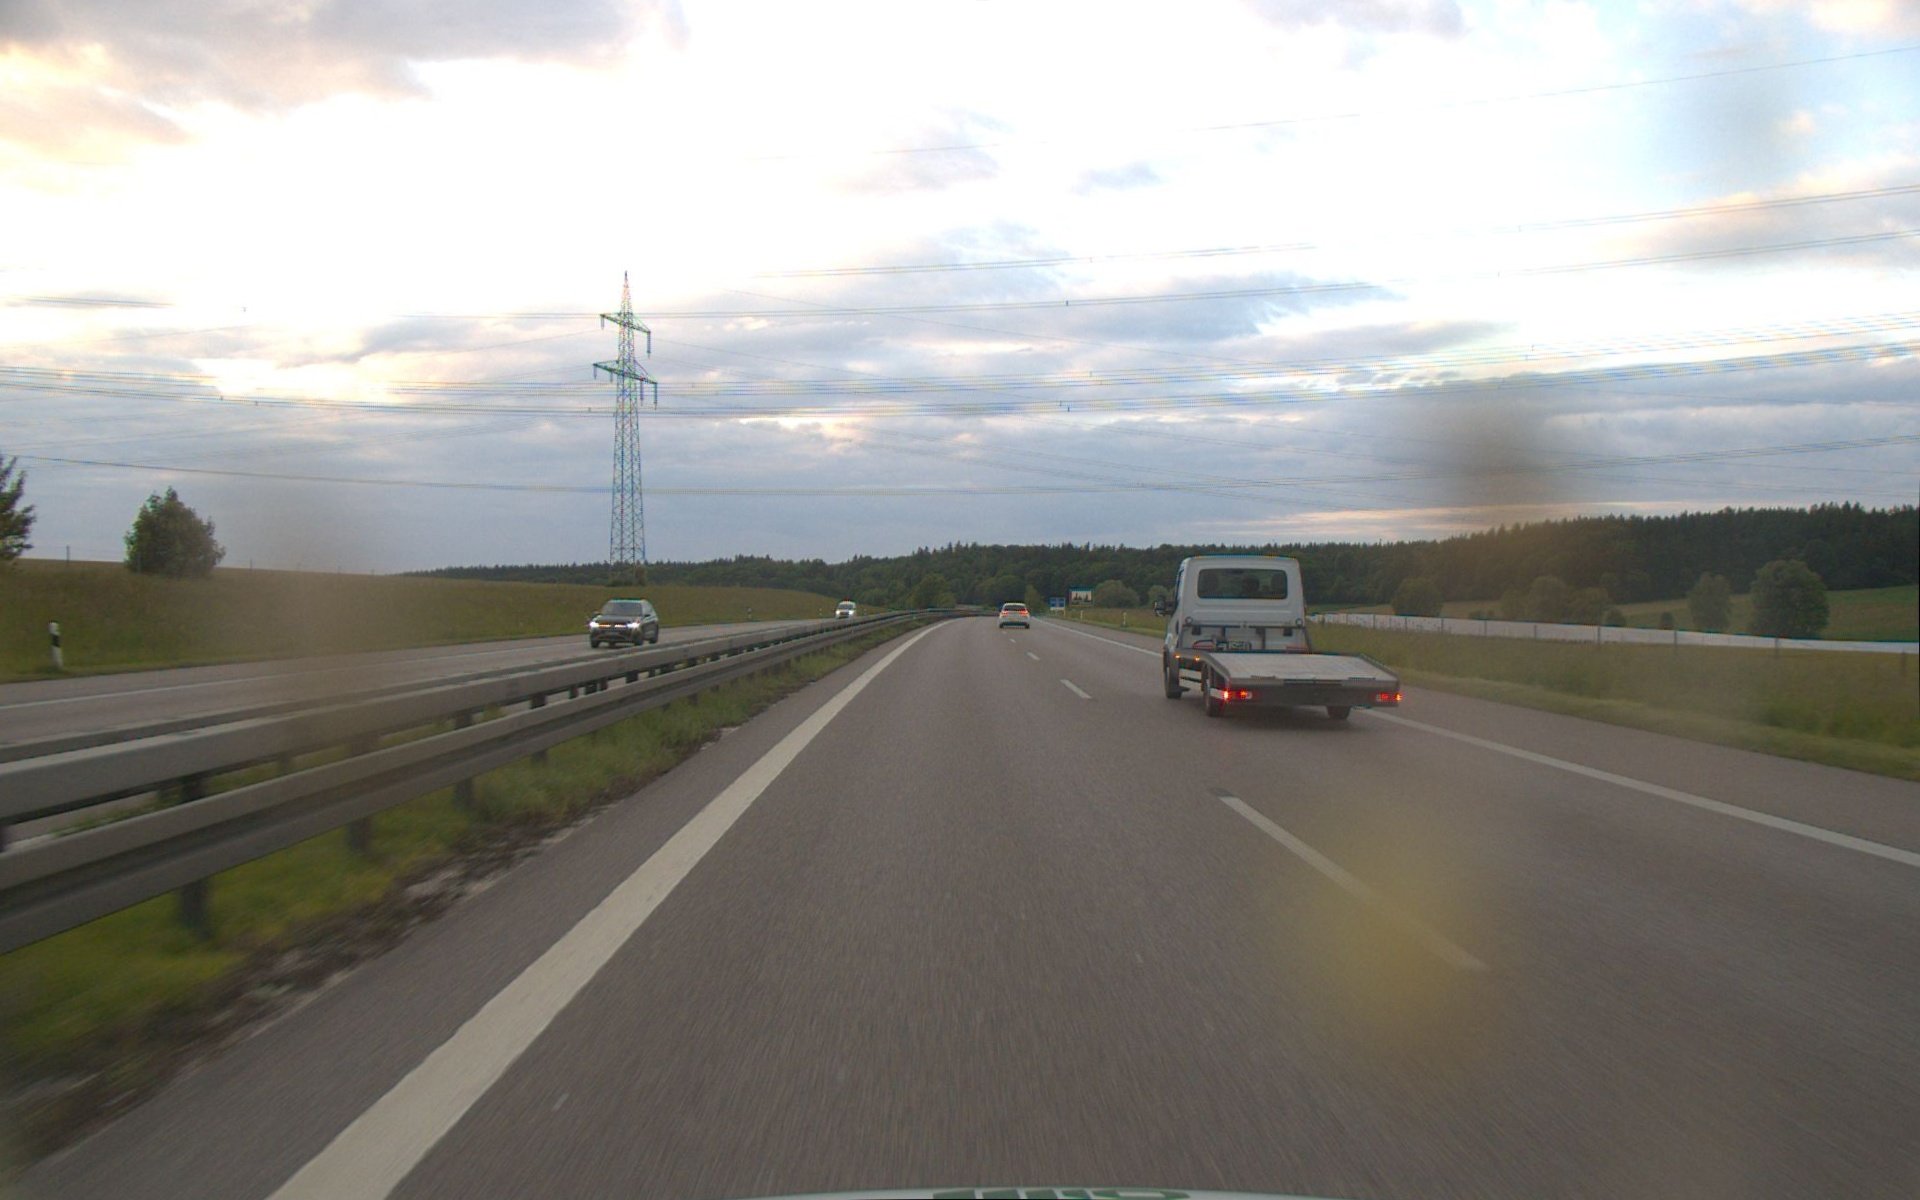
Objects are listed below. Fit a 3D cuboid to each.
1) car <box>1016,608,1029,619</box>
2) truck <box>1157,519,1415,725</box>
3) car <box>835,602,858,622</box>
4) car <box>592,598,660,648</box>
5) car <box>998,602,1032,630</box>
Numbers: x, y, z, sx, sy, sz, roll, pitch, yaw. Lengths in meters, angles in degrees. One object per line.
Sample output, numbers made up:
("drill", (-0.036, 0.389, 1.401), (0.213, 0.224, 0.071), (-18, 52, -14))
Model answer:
("car", (9.844, 2.097, 261.575), (1.911, 1.761, 4.081), (1, 0, 3))
("truck", (4.333, 0.277, 23.513), (2.127, 2.401, 7.696), (1, 0, 0))
("car", (-10.769, 1.160, 156.954), (1.724, 1.833, 4.994), (-1, 0, 0))
("car", (-12.014, 0.804, 59.752), (1.663, 1.693, 4.462), (1, 0, -2))
("car", (3.215, 0.919, 97.197), (1.911, 1.558, 4.080), (1, 0, 1))
